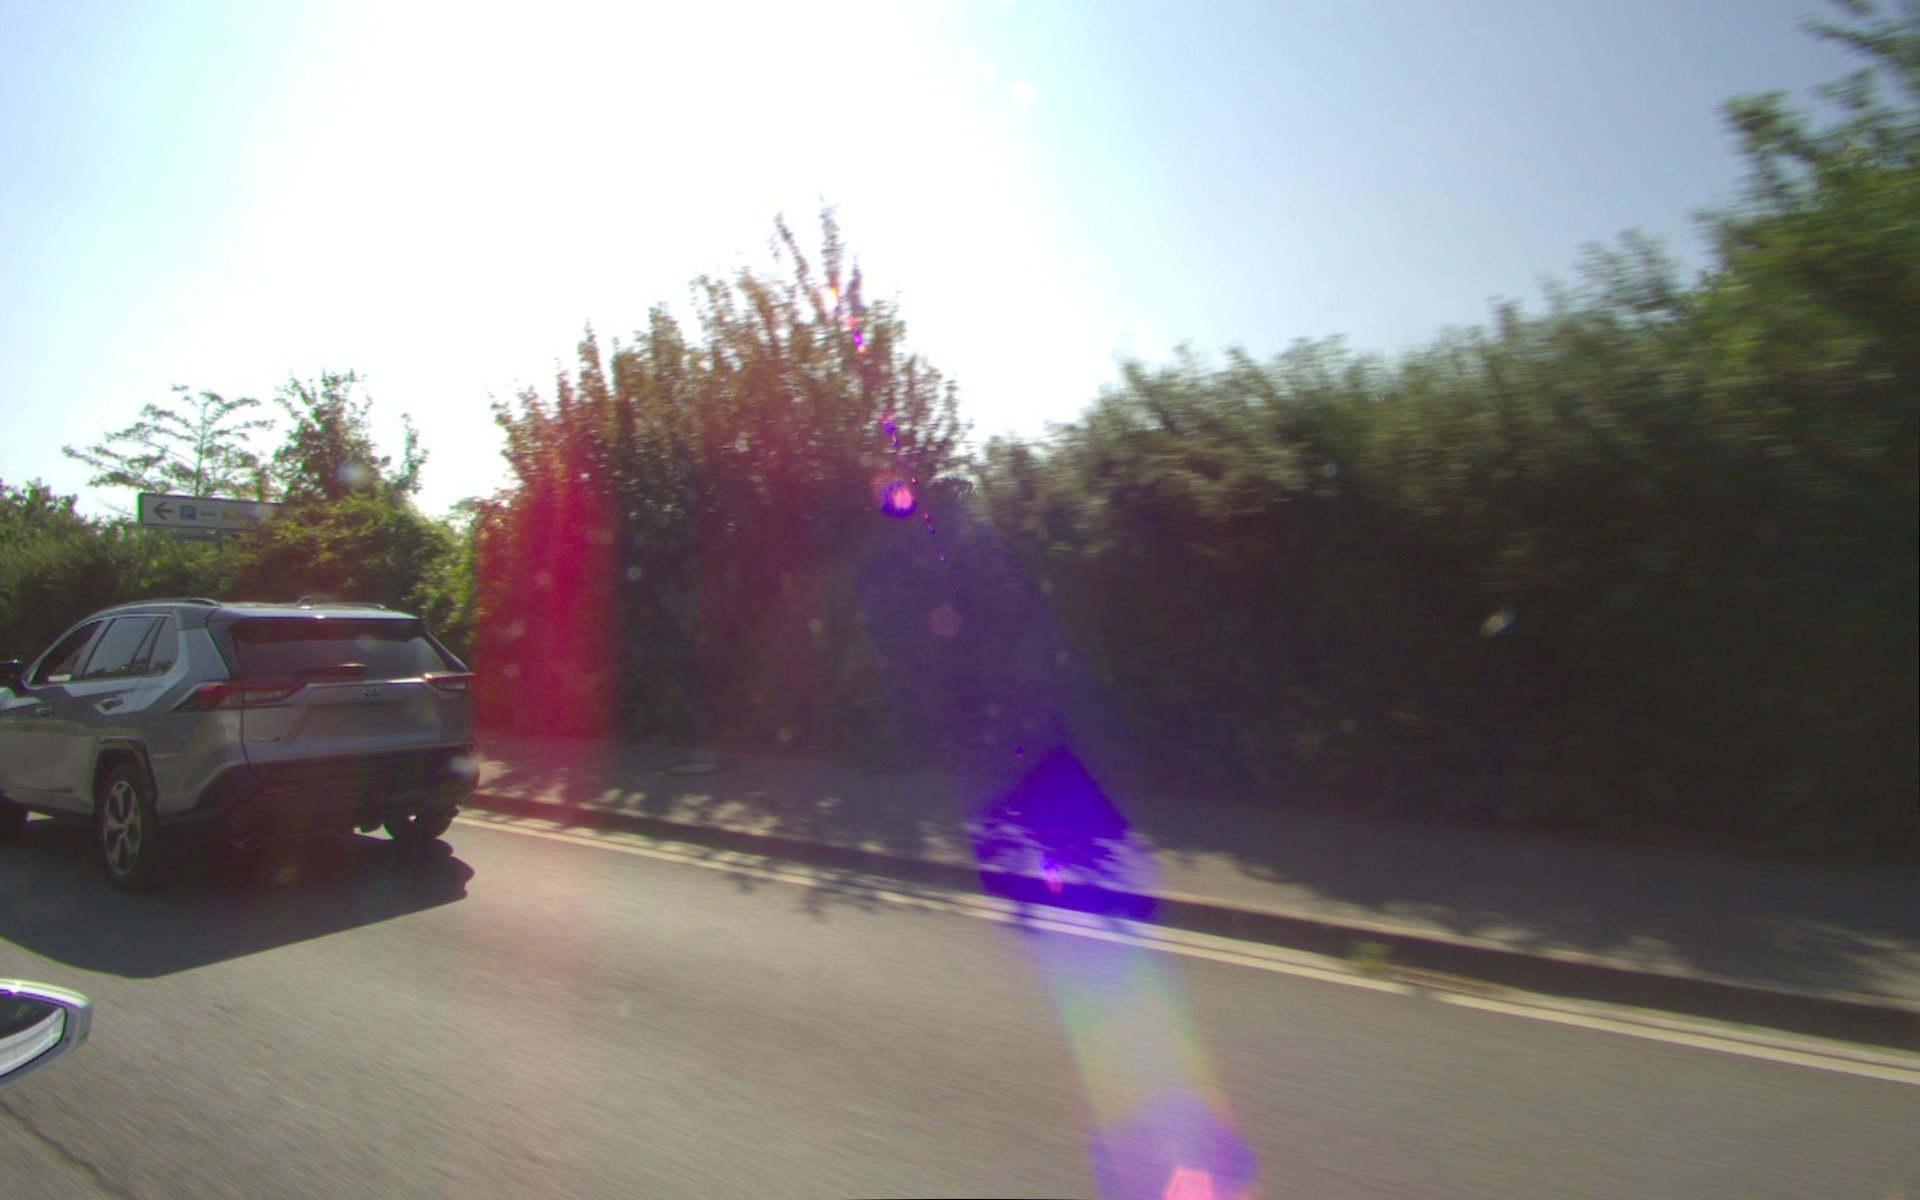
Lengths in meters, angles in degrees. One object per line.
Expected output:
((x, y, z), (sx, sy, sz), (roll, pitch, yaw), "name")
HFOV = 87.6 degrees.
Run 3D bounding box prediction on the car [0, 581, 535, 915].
((-5.323, 0.827, 7.156), (4.616, 1.701, 1.899), (-1, -3, 32), "car")
